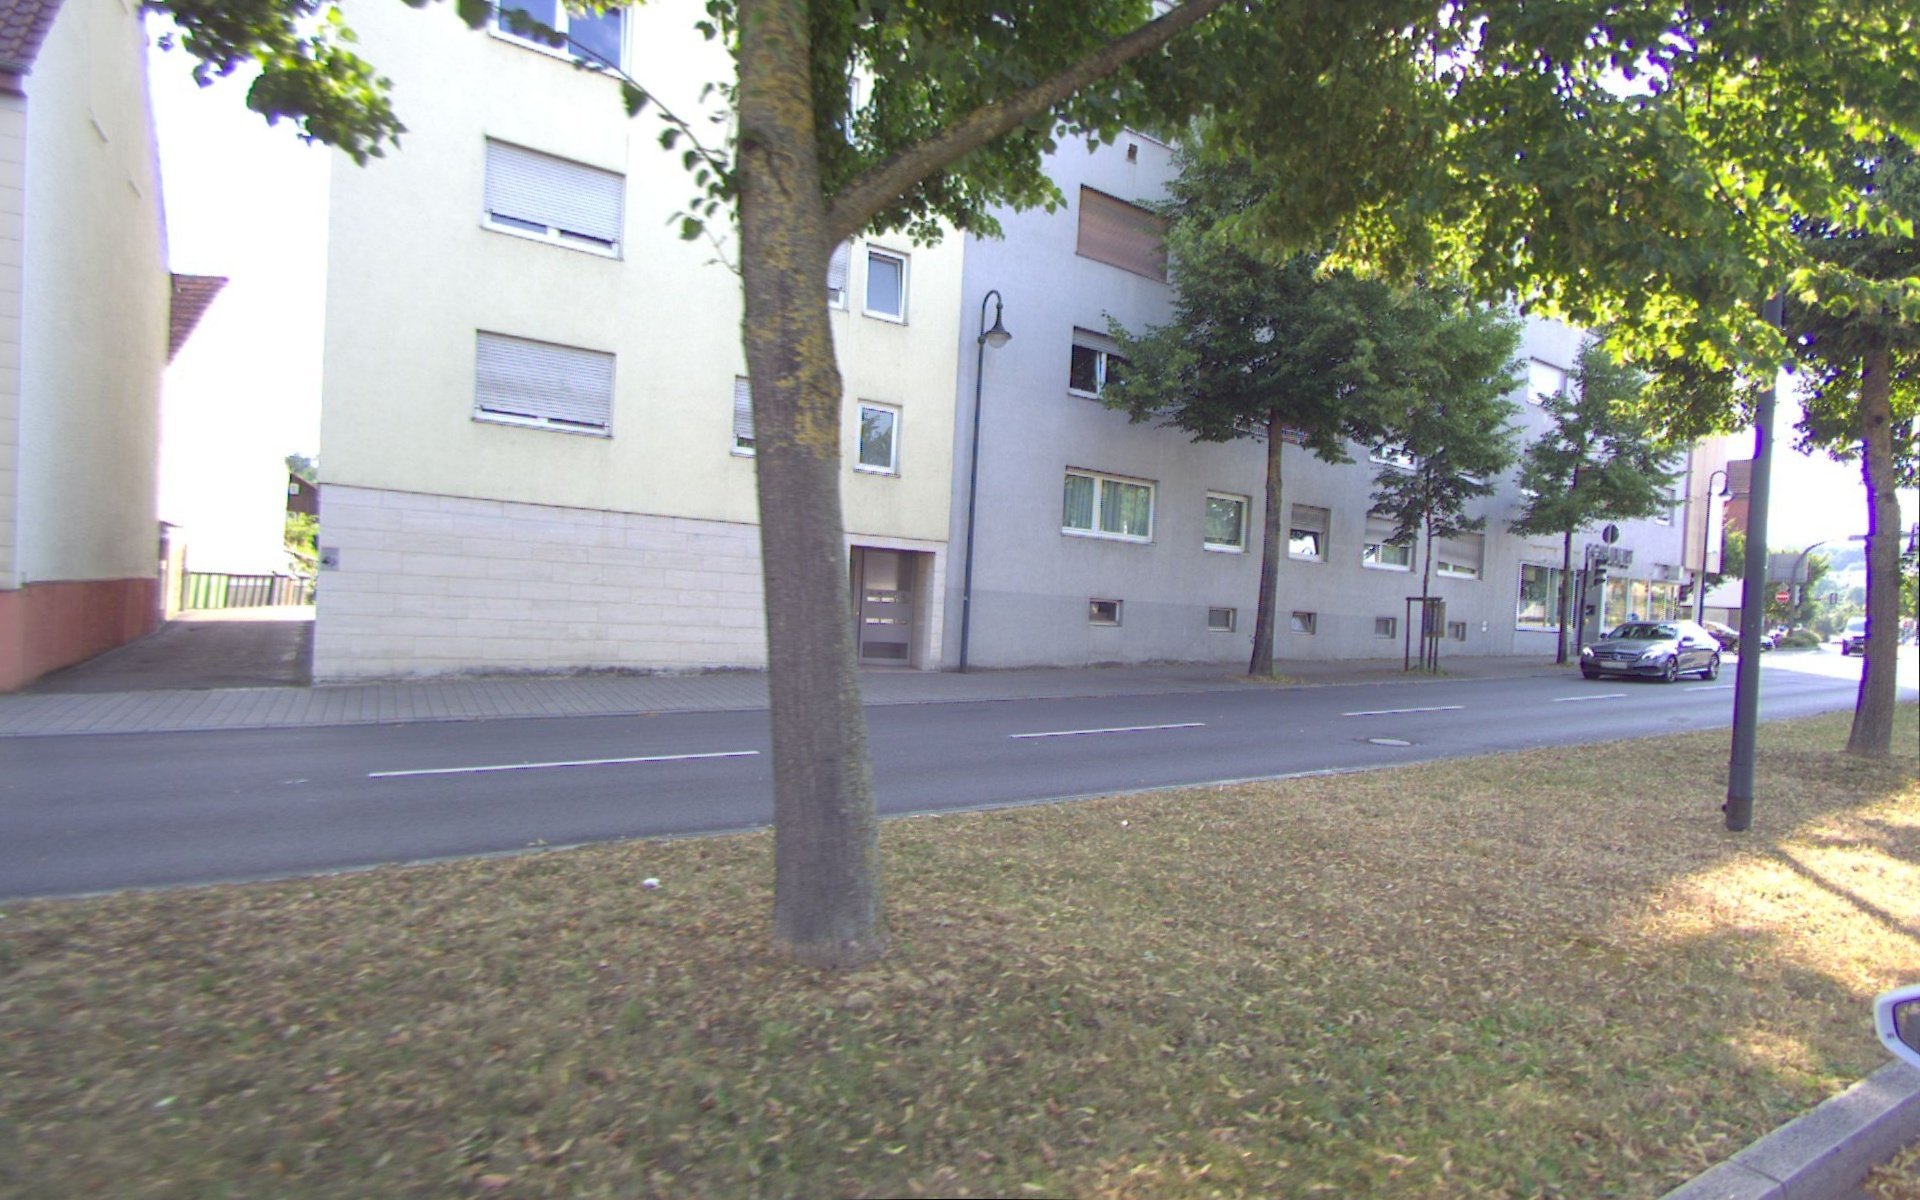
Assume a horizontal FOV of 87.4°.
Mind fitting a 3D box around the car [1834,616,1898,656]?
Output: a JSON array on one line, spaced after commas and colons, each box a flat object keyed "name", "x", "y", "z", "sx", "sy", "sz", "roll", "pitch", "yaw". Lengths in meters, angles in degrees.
[{"name": "car", "x": 43.602, "y": 1.734, "z": 48.303, "sx": 4.887, "sy": 1.759, "sz": 1.835, "roll": 2, "pitch": -1, "yaw": -43}]

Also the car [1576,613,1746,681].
[{"name": "car", "x": 17.456, "y": 1.137, "z": 24.933, "sx": 4.945, "sy": 1.506, "sz": 1.840, "roll": 2, "pitch": -1, "yaw": -35}]

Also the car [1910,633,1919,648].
[{"name": "car", "x": 120.117, "y": 5.036, "z": 125.135, "sx": 2.190, "sy": 1.792, "sz": 4.435, "roll": 2, "pitch": 0, "yaw": 39}]

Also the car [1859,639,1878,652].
[{"name": "car", "x": 122.307, "y": 6.107, "z": 135.274, "sx": 1.710, "sy": 1.701, "sz": 3.981, "roll": 2, "pitch": 0, "yaw": 40}]

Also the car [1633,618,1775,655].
[{"name": "car", "x": 33.044, "y": 1.589, "z": 44.690, "sx": 1.904, "sy": 1.456, "sz": 4.812, "roll": 2, "pitch": -1, "yaw": -43}]
